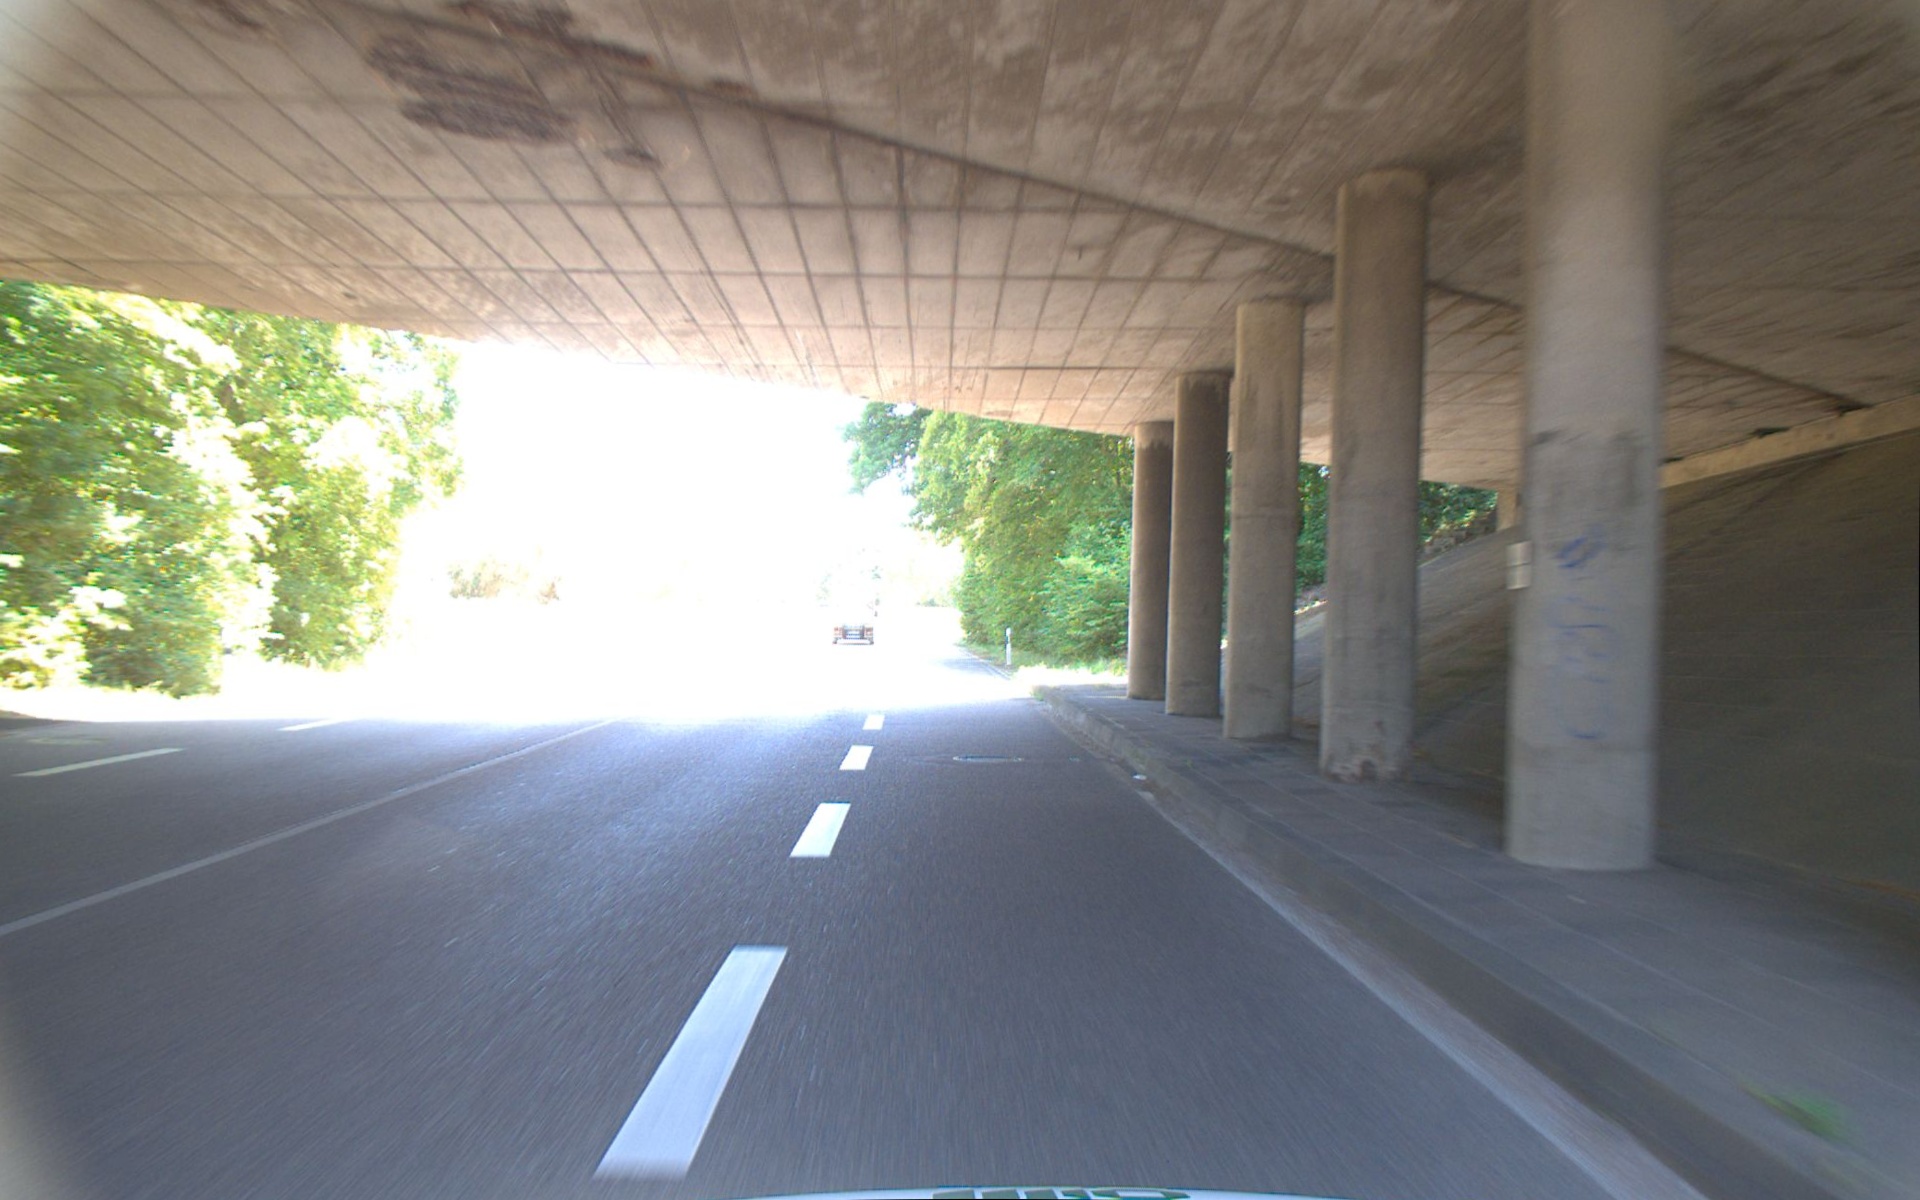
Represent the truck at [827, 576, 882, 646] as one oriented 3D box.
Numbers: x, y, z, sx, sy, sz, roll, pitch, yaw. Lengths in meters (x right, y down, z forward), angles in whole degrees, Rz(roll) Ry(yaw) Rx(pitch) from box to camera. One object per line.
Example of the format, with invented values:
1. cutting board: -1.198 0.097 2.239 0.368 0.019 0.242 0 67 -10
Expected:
1. truck: -4.984 0.479 78.399 2.483 3.190 5.357 0 0 -4
